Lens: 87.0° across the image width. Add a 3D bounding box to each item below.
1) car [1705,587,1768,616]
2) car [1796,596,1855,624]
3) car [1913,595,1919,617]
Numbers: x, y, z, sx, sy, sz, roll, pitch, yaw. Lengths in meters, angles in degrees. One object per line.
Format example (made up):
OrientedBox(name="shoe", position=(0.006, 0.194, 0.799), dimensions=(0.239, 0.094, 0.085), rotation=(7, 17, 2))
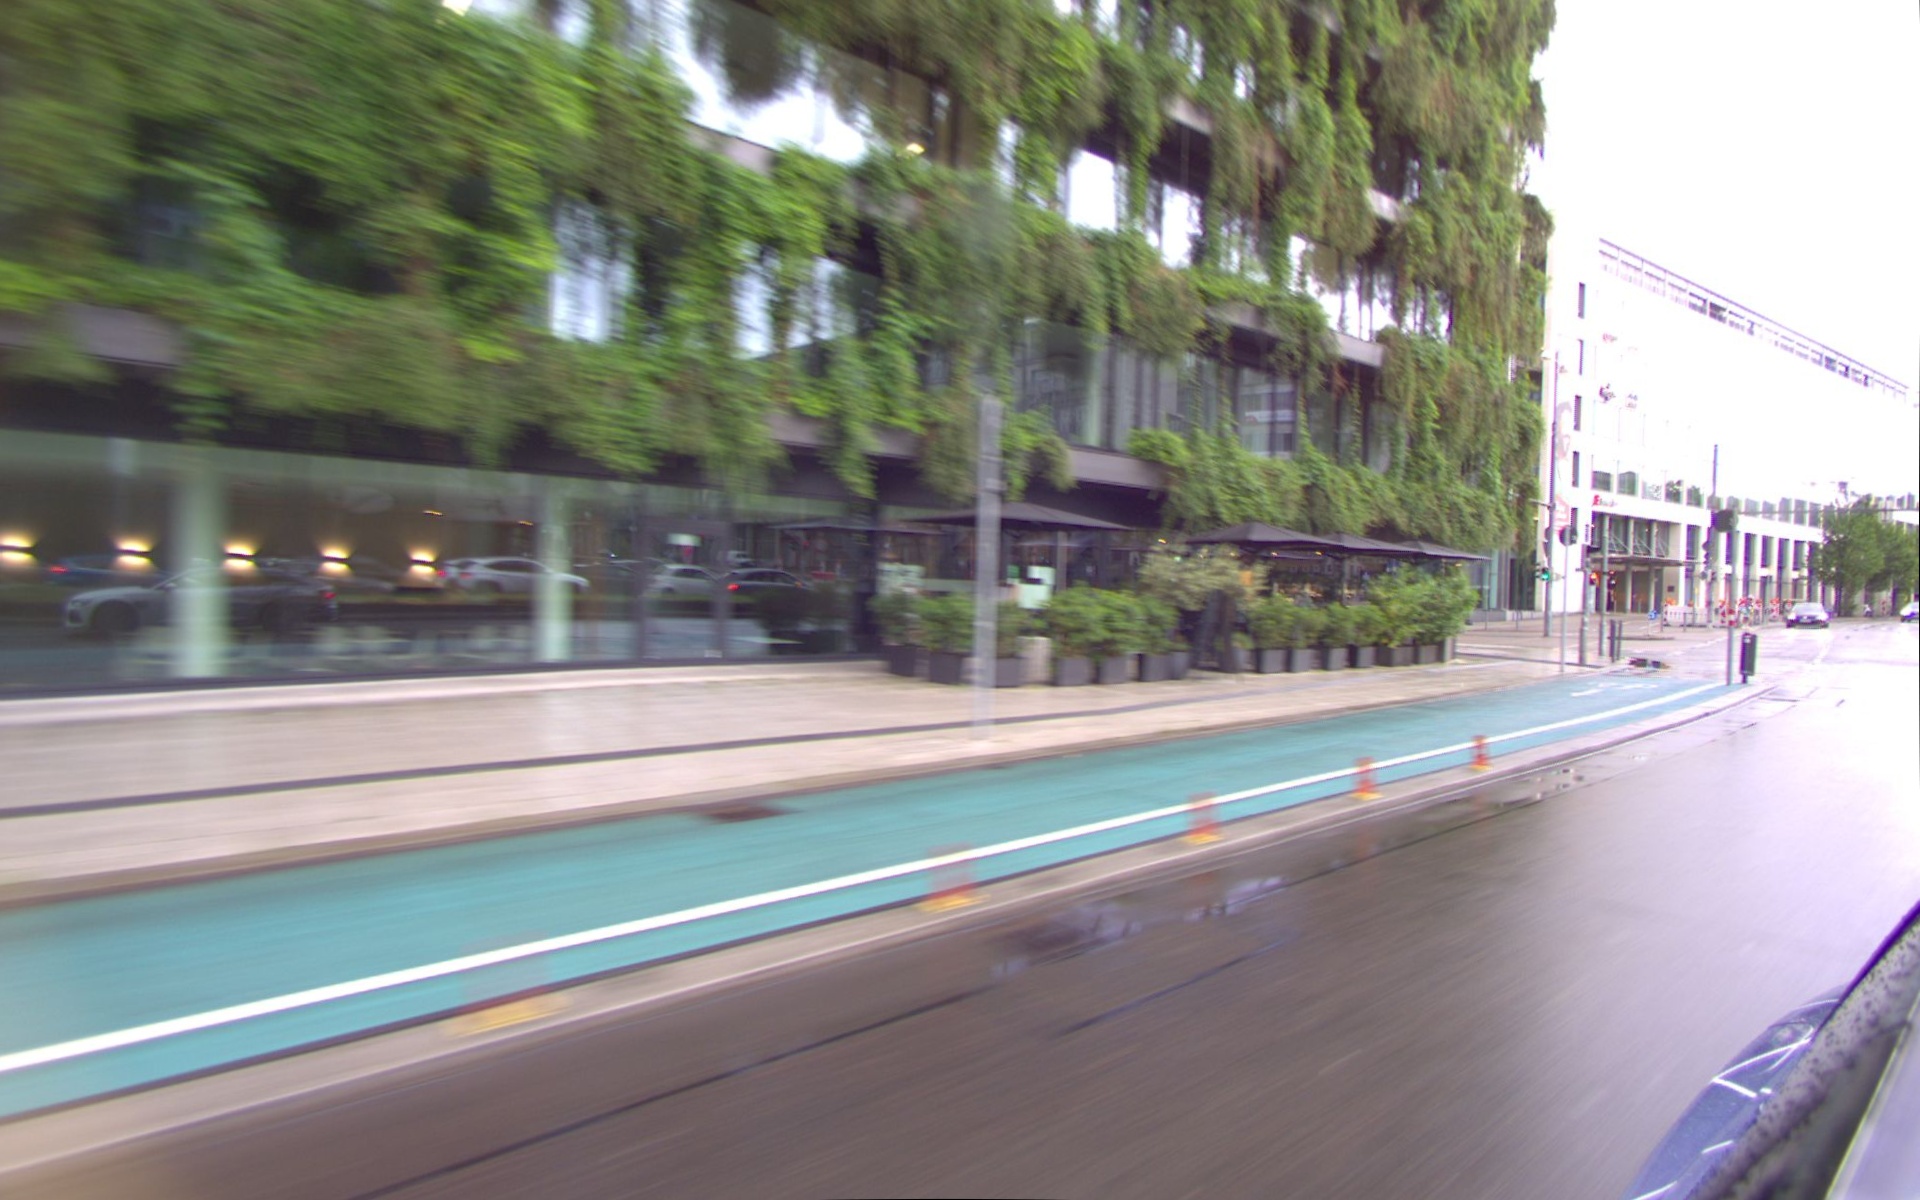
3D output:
OrientedBox(name="car", position=(43.654, 0.065, 56.873), dimensions=(4.586, 1.572, 1.739), rotation=(0, 1, -38))
OrientedBox(name="car", position=(49.481, 0.541, 57.810), dimensions=(4.586, 1.572, 1.739), rotation=(0, 0, -39))
OrientedBox(name="car", position=(71.538, 0.438, 74.252), dimensions=(4.586, 1.572, 1.739), rotation=(0, 1, -38))
